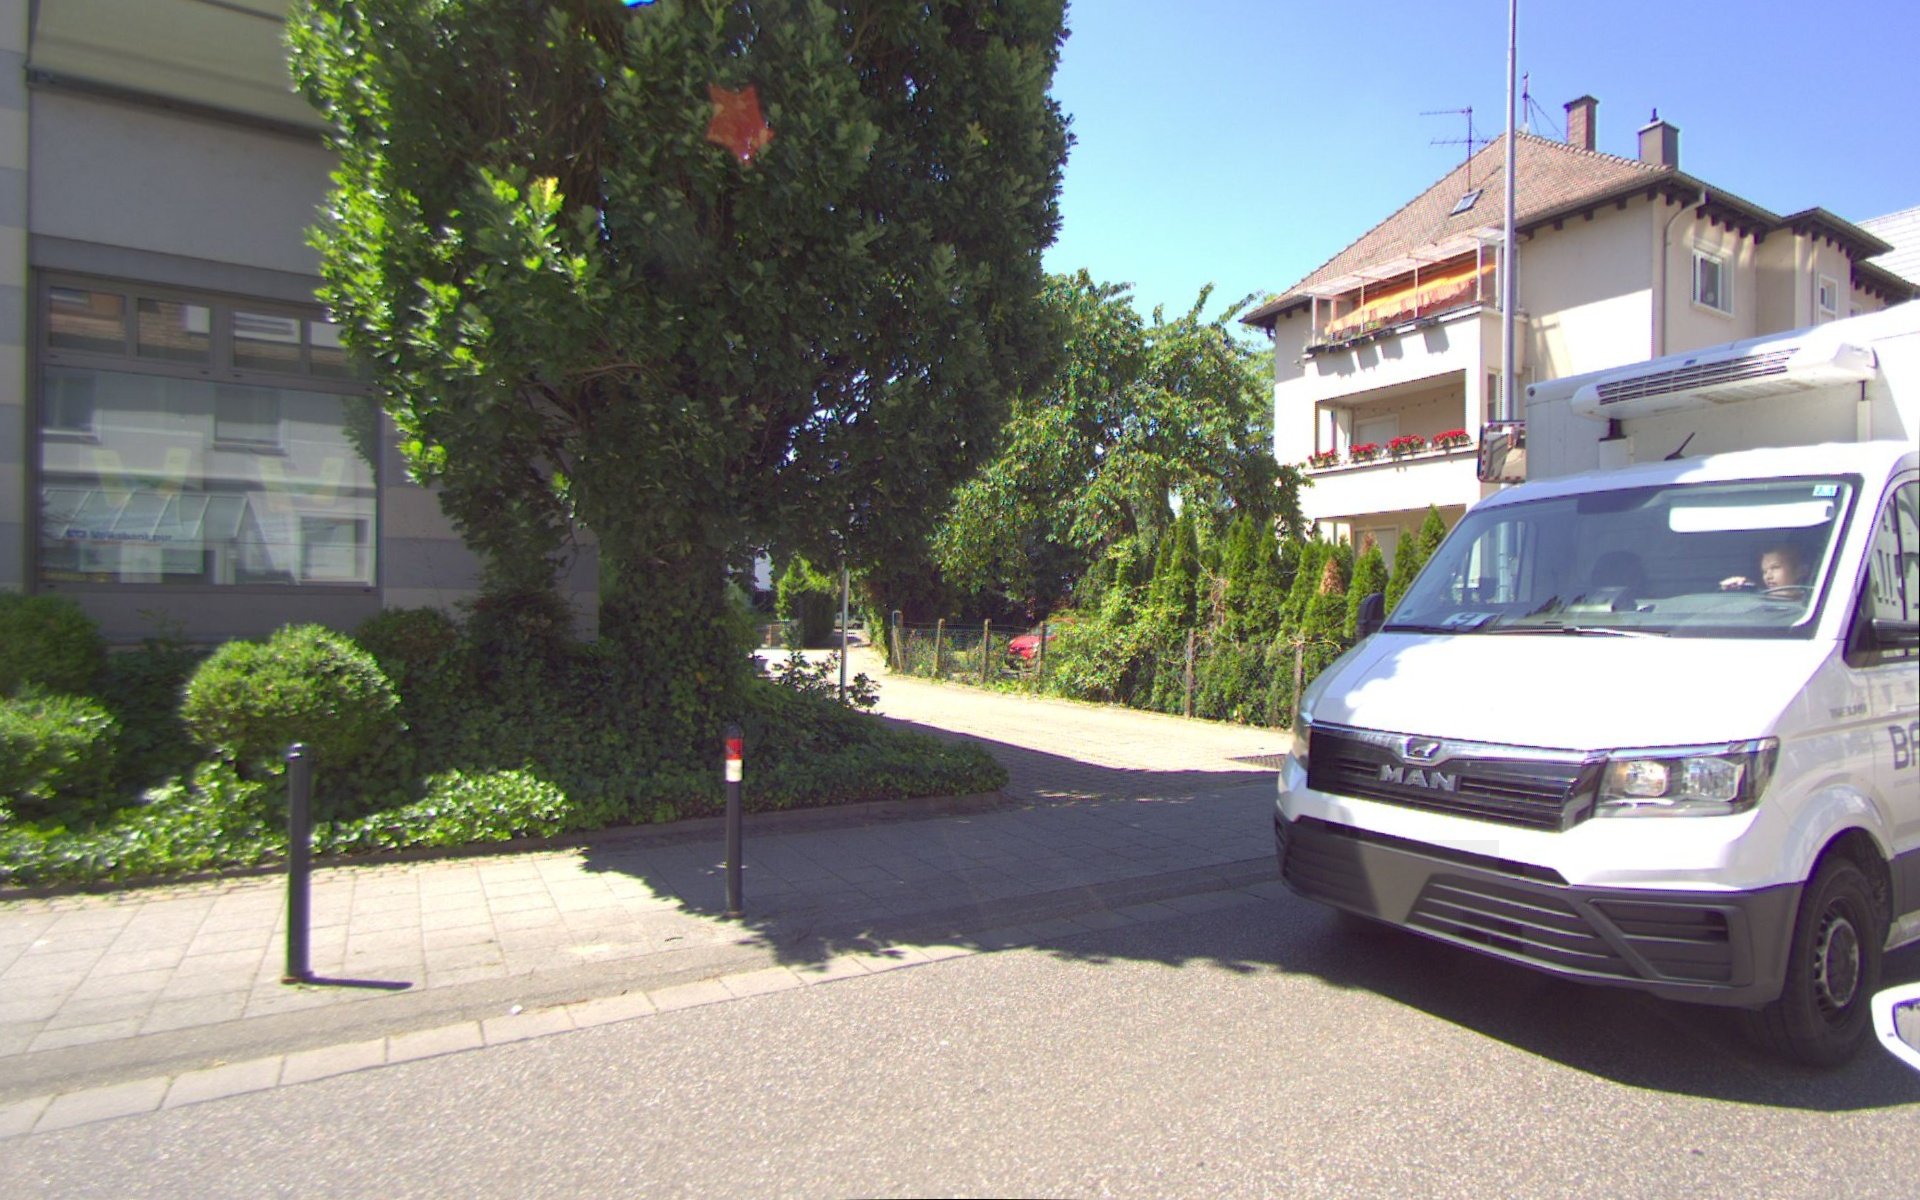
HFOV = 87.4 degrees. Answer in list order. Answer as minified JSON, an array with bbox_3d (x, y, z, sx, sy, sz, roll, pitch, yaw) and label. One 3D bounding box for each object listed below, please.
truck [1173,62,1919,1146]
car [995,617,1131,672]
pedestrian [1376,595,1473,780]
[{"bbox_3d":[4.298,0.075,5.420,6.184,3.023,2.408,1,-1,-30],"label":"truck"},{"bbox_3d":[2.847,1.199,27.682,3.377,1.439,1.703,1,-1,-31],"label":"car"},{"bbox_3d":[4.468,0.813,9.669,0.700,1.707,0.534,1,0,-30],"label":"pedestrian"}]
